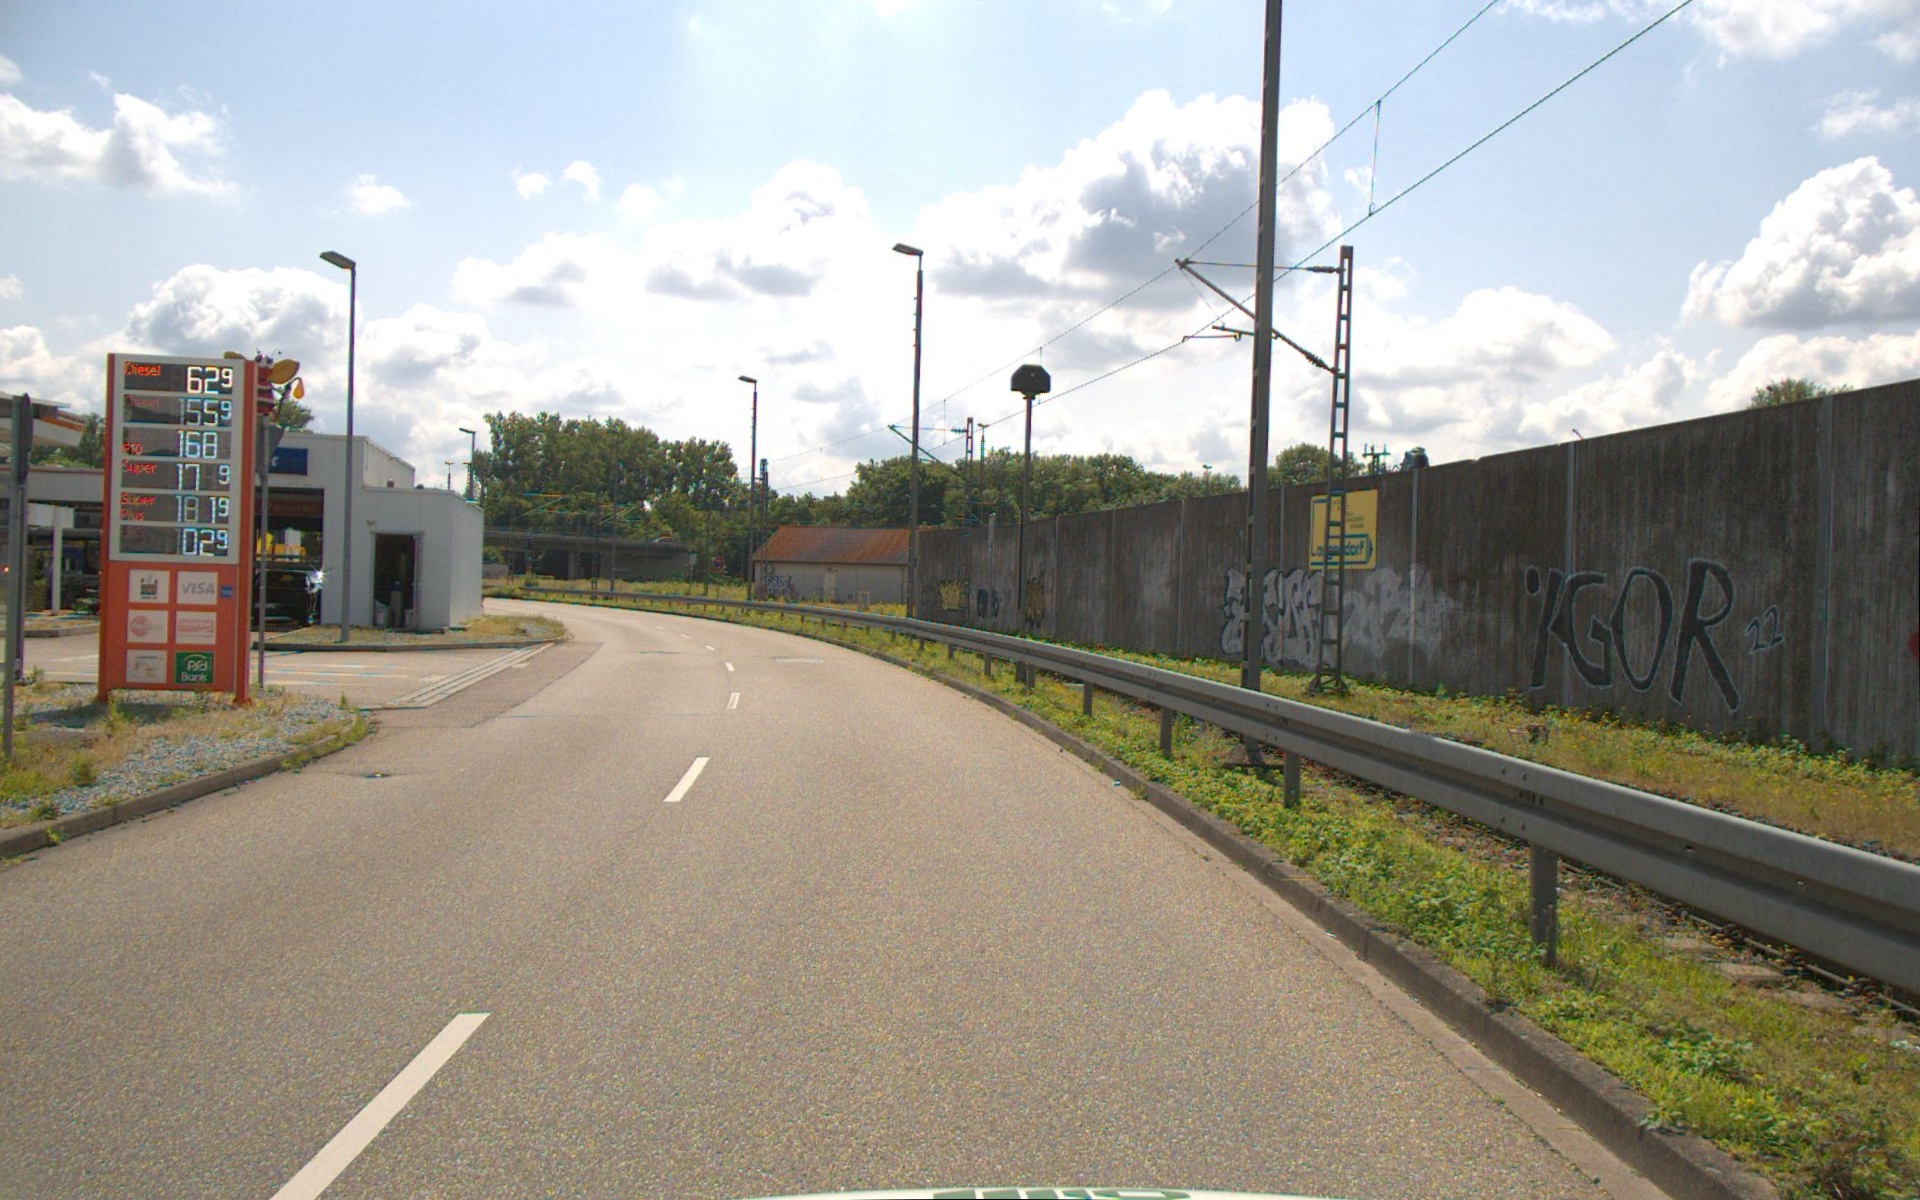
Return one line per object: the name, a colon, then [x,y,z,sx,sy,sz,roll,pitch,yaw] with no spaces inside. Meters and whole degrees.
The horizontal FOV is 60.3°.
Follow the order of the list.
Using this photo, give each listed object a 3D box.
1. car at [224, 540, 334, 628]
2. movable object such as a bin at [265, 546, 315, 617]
car: [-17.905,-0.399,43.694,1.960,2.146,4.991,1,0,-14]
movable object such as a bin: [-21.579,-0.555,53.322,1.044,2.190,2.694,1,-1,-13]
